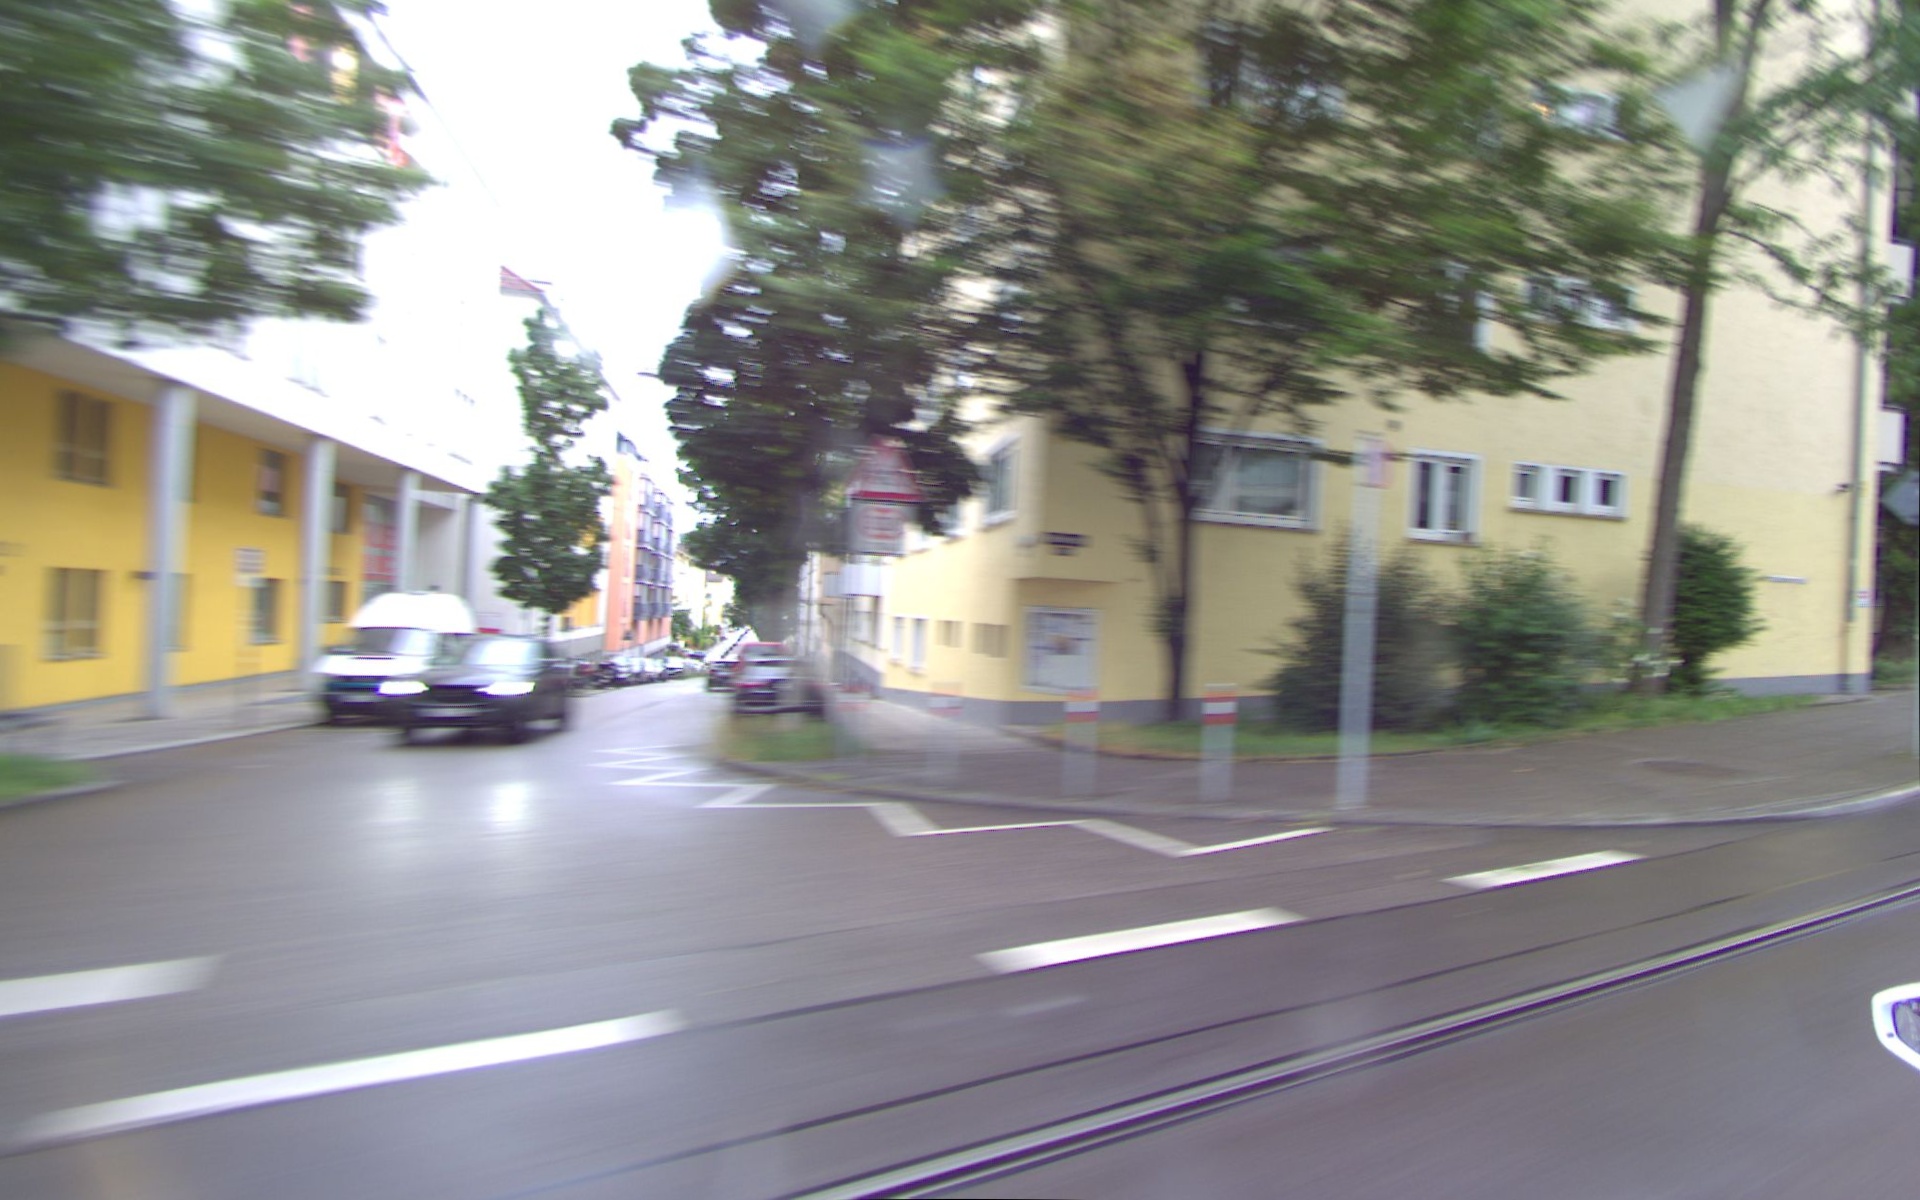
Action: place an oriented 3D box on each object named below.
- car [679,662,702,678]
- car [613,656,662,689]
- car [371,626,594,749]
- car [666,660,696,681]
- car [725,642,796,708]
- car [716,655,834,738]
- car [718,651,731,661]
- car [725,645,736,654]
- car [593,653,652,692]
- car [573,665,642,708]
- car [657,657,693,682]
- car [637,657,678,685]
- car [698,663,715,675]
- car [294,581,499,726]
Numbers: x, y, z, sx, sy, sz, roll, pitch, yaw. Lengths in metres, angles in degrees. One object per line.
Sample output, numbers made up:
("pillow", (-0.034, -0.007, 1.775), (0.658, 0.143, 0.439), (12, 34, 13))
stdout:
("car", (-25.706, 6.672, 95.951), (1.768, 1.530, 3.994), (1, -4, -10))
("car", (-15.851, 3.585, 49.565), (1.768, 1.530, 3.994), (1, -4, -10))
("car", (-7.522, 1.392, 16.416), (2.034, 1.699, 4.765), (1, -4, -10))
("car", (-21.173, 5.365, 76.253), (1.768, 1.530, 3.994), (1, -4, -10))
("car", (-5.951, 2.251, 30.256), (1.915, 1.835, 4.124), (1, -4, -10))
("car", (-3.428, 1.751, 18.764), (1.915, 1.365, 4.124), (1, -4, -10))
("car", (-38.000, 9.106, 162.393), (1.768, 1.530, 3.994), (1, -4, -10))
("car", (-41.863, 9.039, 183.481), (1.768, 1.530, 3.994), (1, -4, -10))
("car", (-14.207, 3.049, 42.480), (1.768, 1.530, 3.994), (1, -4, -10))
("car", (-13.161, 3.207, 37.721), (1.768, 1.530, 3.994), (1, -4, -10))
("car", (-18.212, 4.452, 64.327), (1.768, 1.530, 3.994), (1, -4, -10))
("car", (-17.086, 4.026, 56.890), (1.768, 1.530, 3.994), (1, -4, -10))
("car", (-33.773, 9.163, 133.868), (1.768, 1.530, 3.994), (1, -4, -10))
("car", (-11.191, 1.129, 20.451), (1.964, 2.561, 5.066), (1, -4, -10))
